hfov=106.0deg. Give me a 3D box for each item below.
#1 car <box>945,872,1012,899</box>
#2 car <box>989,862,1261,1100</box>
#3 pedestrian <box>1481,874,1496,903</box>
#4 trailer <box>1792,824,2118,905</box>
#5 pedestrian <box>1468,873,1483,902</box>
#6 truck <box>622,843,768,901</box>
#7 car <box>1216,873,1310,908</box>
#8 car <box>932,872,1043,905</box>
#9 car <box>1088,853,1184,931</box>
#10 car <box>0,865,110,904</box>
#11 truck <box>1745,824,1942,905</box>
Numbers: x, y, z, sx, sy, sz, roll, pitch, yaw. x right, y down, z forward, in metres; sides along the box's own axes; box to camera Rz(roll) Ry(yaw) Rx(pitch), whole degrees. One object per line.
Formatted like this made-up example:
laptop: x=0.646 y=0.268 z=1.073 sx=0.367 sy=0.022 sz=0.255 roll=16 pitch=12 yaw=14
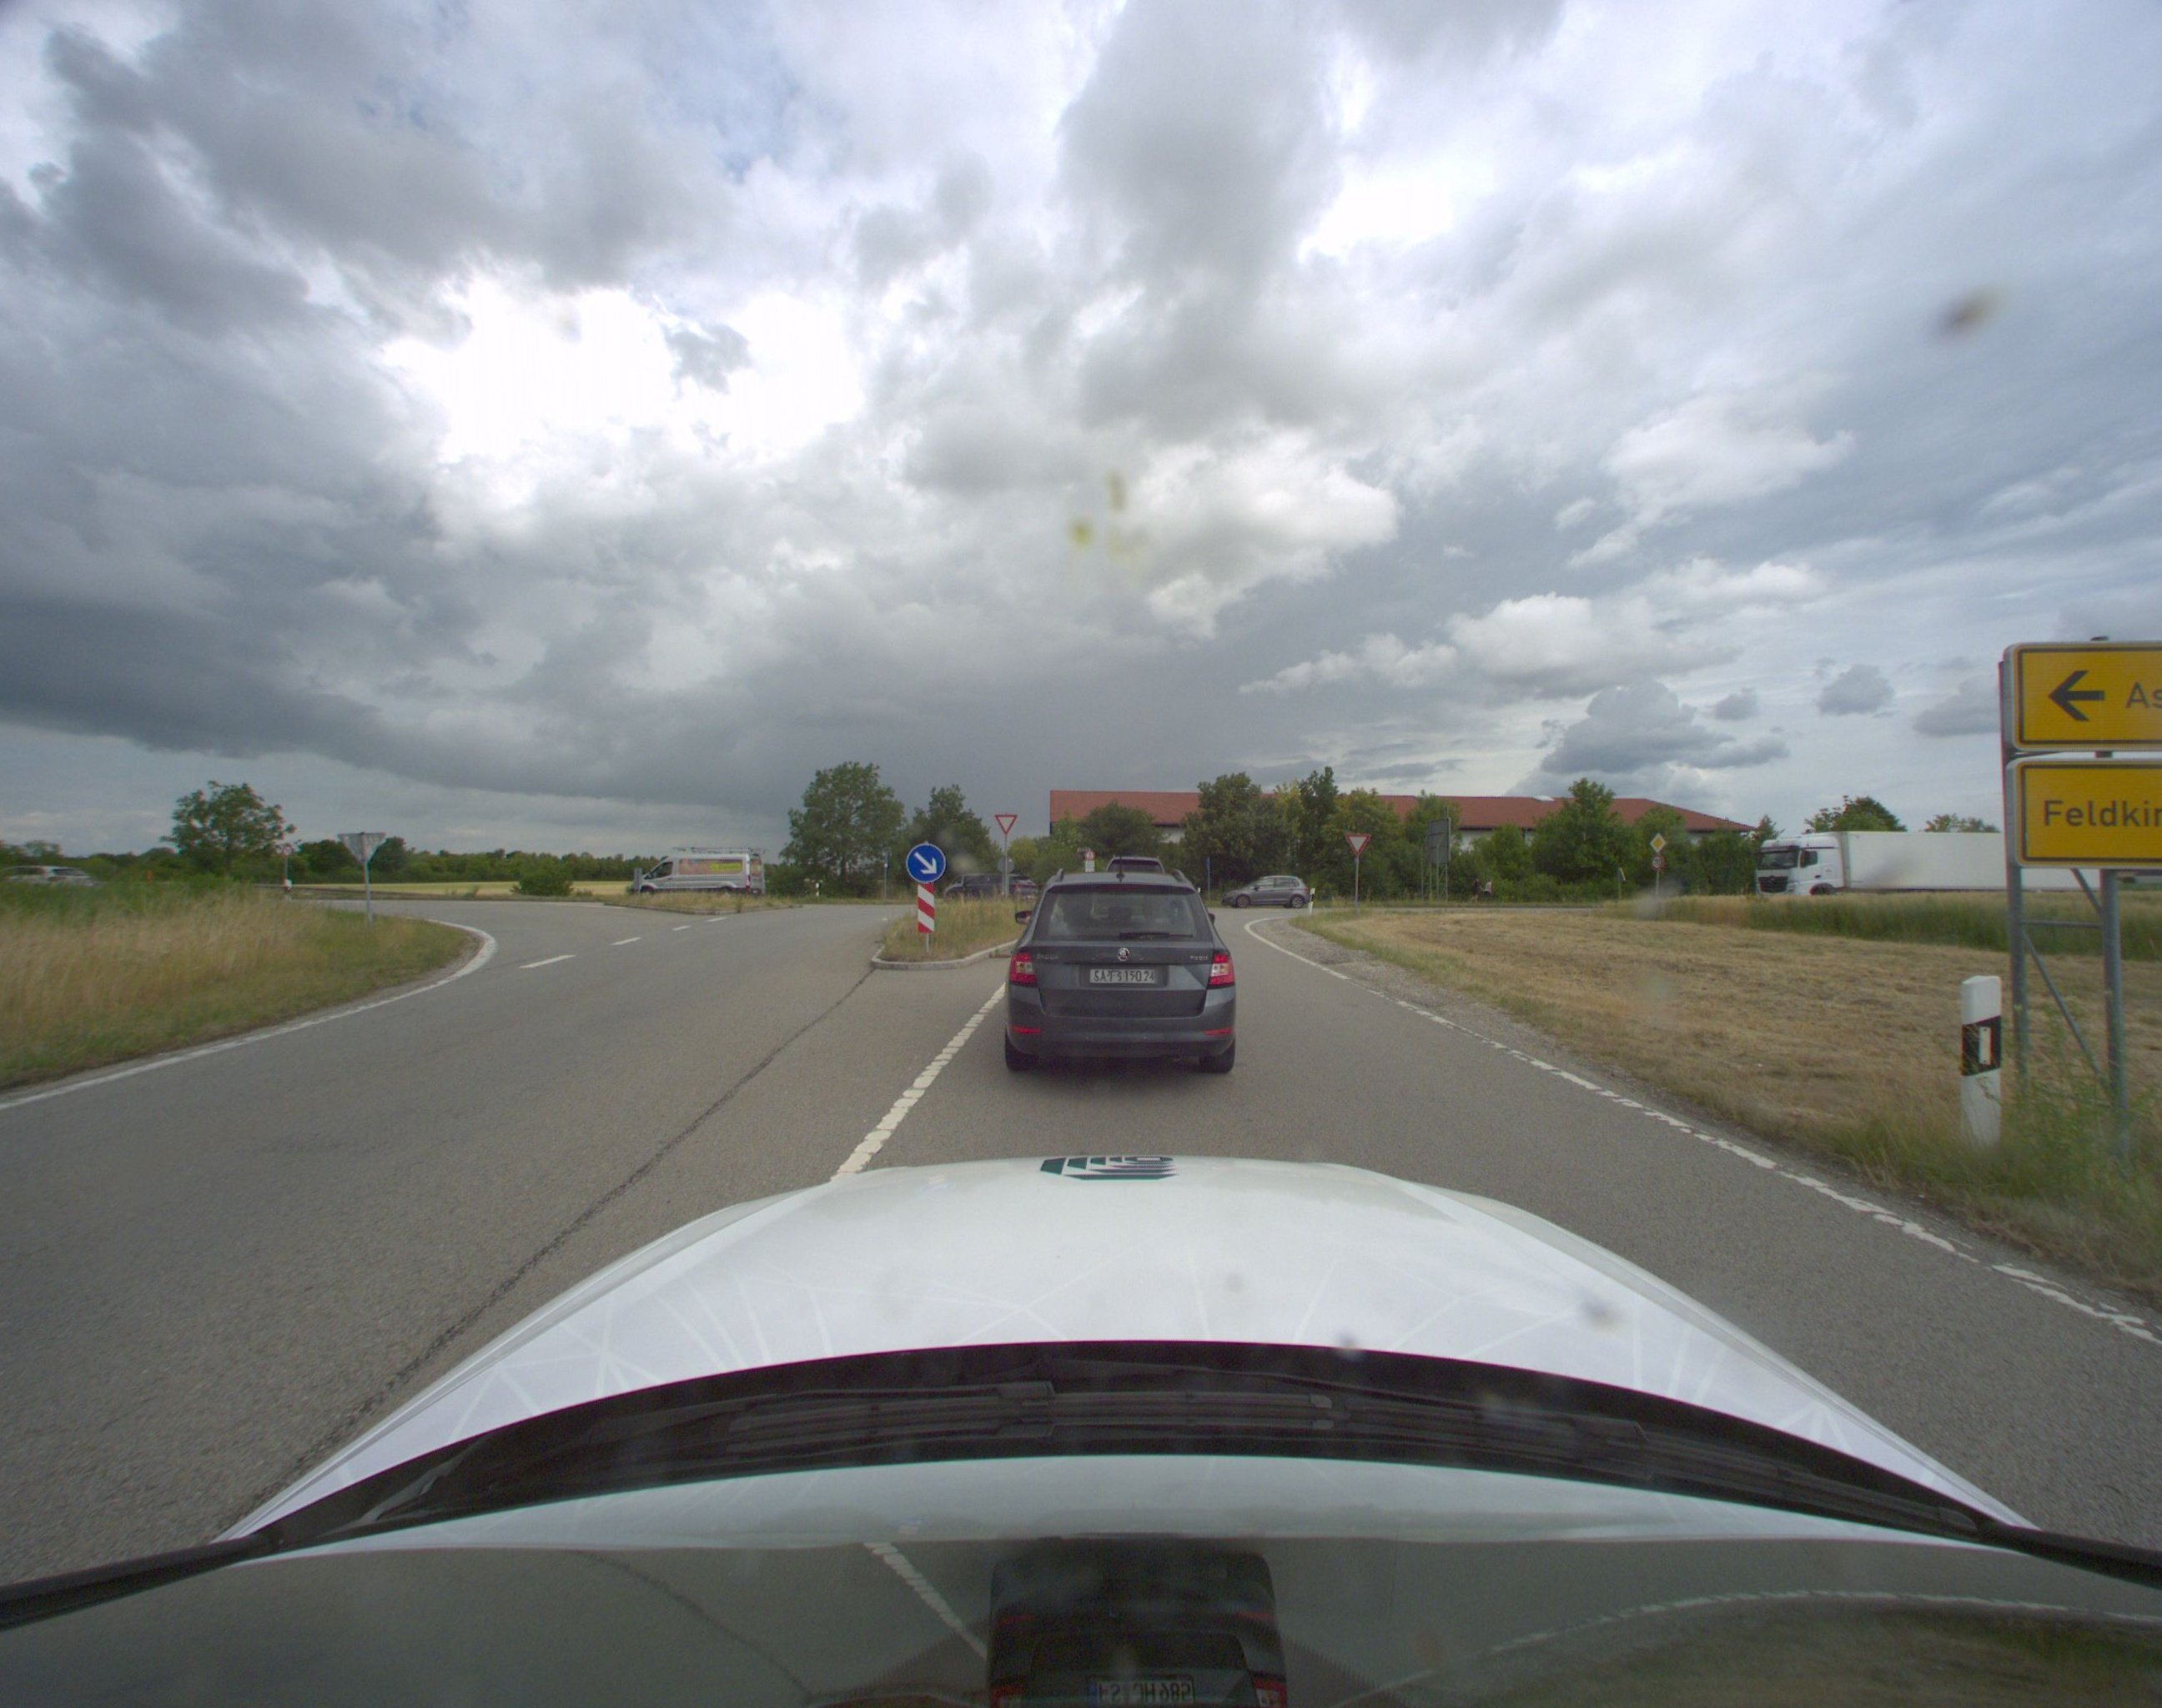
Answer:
car: x=-8.017 y=2.429 z=63.390 sx=4.851 sy=2.014 sz=2.357 roll=-1 pitch=-1 yaw=37
car: x=0.330 y=0.811 z=6.891 sx=1.670 sy=1.463 sz=3.709 roll=0 pitch=-1 yaw=2
pedestrian: x=23.827 y=1.992 z=47.627 sx=0.625 sy=1.682 sz=0.529 roll=0 pitch=-1 yaw=-7
trailer: x=45.220 y=0.612 z=42.402 sx=13.802 sy=4.015 sz=3.126 roll=0 pitch=-3 yaw=-2
pedestrian: x=23.627 y=1.991 z=48.738 sx=0.625 sy=1.682 sz=0.529 roll=0 pitch=-1 yaw=-7
truck: x=-18.480 y=0.845 z=39.217 sx=6.011 sy=2.703 sz=2.064 roll=0 pitch=-1 yaw=-3
car: x=8.960 y=1.797 z=40.274 sx=4.197 sy=1.601 sz=1.999 roll=-1 pitch=-1 yaw=-1
car: x=-3.905 y=1.438 z=34.300 sx=4.310 sy=1.345 sz=1.688 roll=-1 pitch=-1 yaw=14
car: x=1.291 y=0.951 z=21.079 sx=1.988 sy=1.775 sz=4.639 roll=1 pitch=-2 yaw=-2
car: x=-47.200 y=1.361 z=36.774 sx=3.983 sy=1.662 sz=1.995 roll=0 pitch=-1 yaw=-8
truck: x=39.353 y=0.606 z=42.240 sx=7.262 sy=4.015 sz=3.126 roll=0 pitch=-3 yaw=-1
